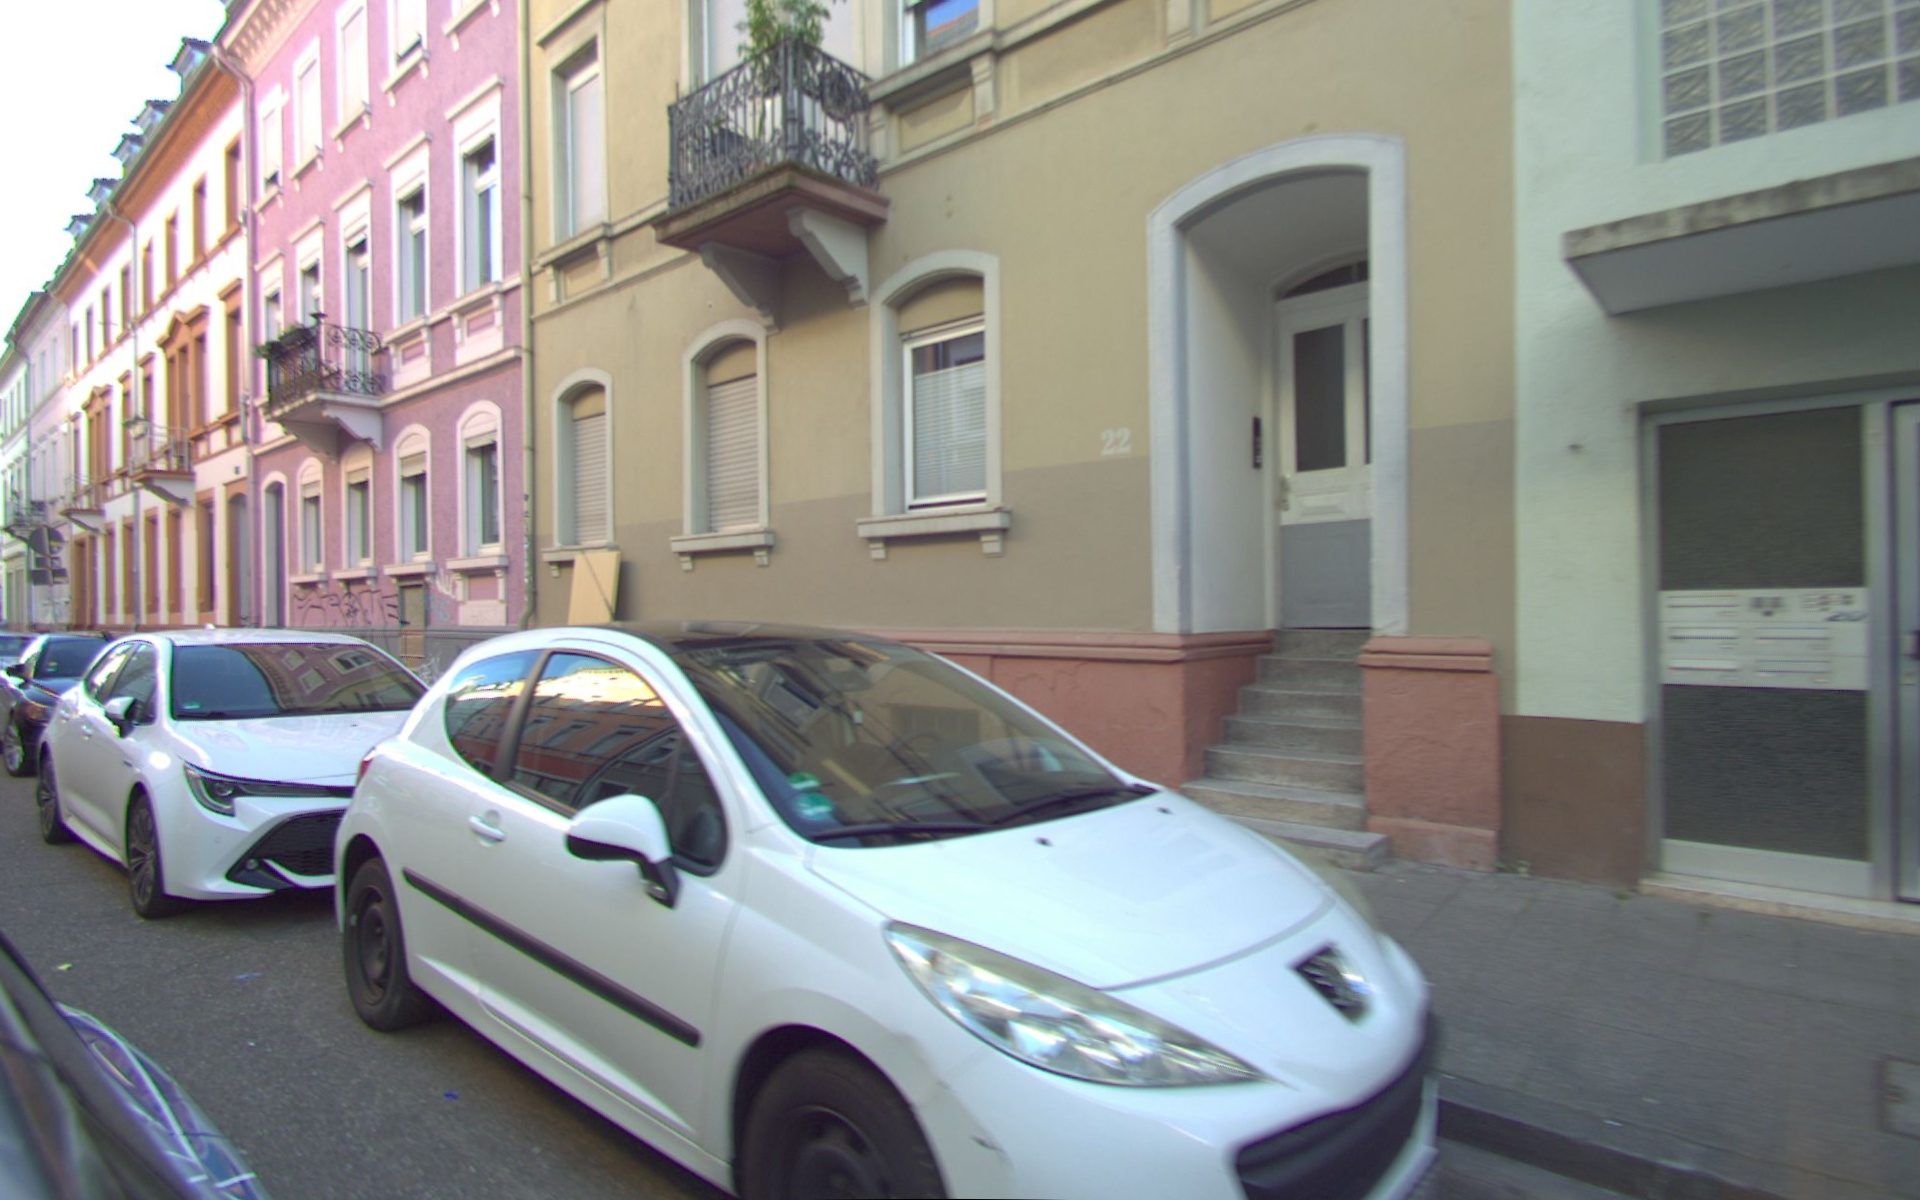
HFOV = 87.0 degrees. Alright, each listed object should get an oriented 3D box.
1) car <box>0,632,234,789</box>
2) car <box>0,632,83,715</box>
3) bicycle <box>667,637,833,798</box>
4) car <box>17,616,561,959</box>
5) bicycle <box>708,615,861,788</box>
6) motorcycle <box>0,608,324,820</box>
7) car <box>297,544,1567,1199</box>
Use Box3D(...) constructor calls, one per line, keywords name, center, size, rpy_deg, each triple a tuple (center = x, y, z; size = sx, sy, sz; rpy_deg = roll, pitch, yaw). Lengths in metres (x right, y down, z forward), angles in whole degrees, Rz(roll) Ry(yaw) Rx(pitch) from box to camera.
Box3D(name="car", center=(-9.532, 1.052, 11.126), size=(4.302, 1.401, 1.707), rpy_deg=(-2, -3, 43))
Box3D(name="car", center=(-17.239, 1.240, 18.064), size=(4.377, 1.353, 1.748), rpy_deg=(-1, -3, 41))
Box3D(name="bicycle", center=(-1.642, 0.850, 7.782), size=(1.494, 1.110, 0.413), rpy_deg=(-2, 0, 41))
Box3D(name="car", center=(-4.427, 0.865, 6.413), size=(4.197, 1.473, 1.769), rpy_deg=(-2, -2, 40))
Box3D(name="bicycle", center=(-1.437, 0.769, 8.111), size=(1.494, 1.269, 0.315), rpy_deg=(-2, 0, 41))
Box3D(name="motorcycle", center=(-6.531, 0.847, 8.429), size=(0.818, 1.490, 1.954), rpy_deg=(-2, 0, 21))
Box3D(name="car", center=(-0.495, 0.705, 3.302), size=(3.998, 1.463, 1.771), rpy_deg=(-2, -2, 41))
